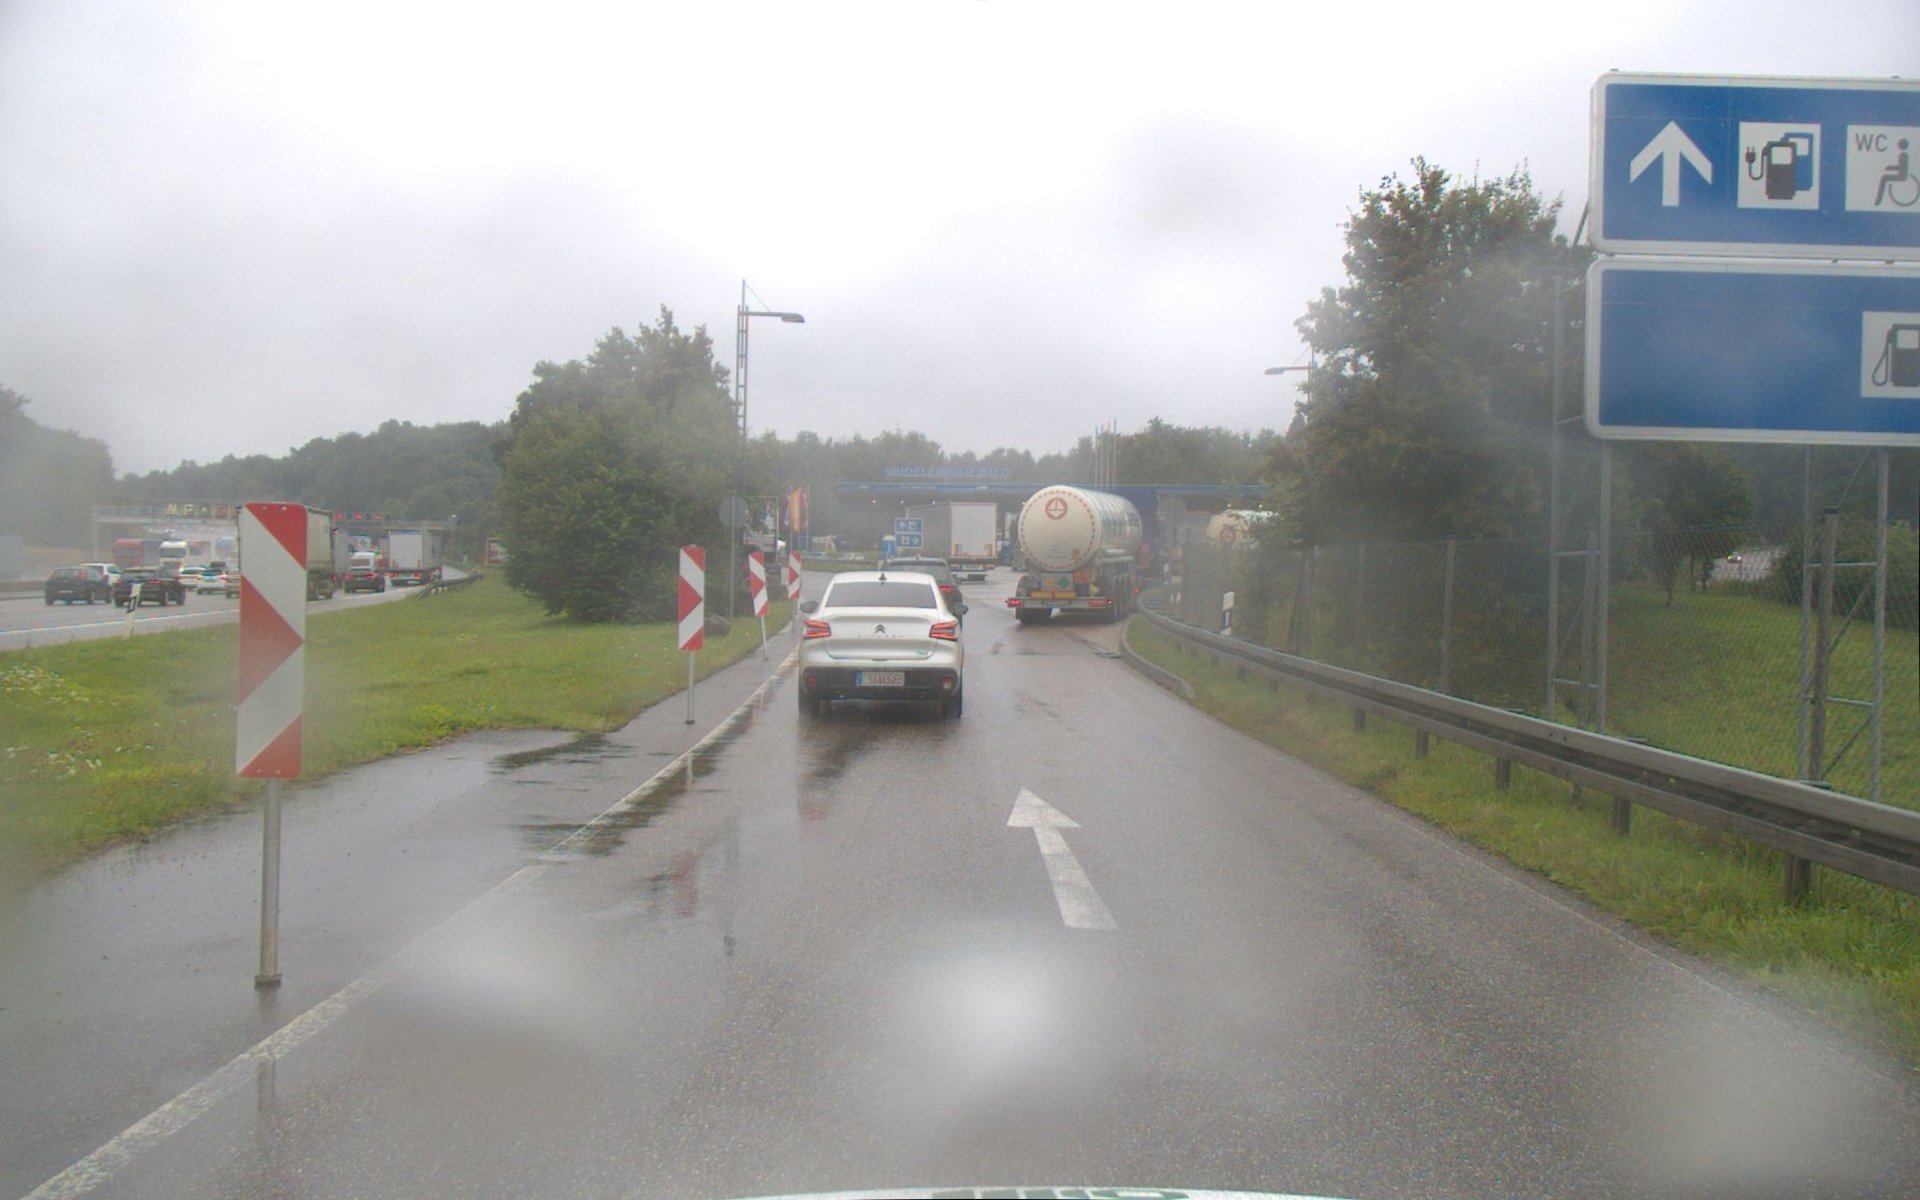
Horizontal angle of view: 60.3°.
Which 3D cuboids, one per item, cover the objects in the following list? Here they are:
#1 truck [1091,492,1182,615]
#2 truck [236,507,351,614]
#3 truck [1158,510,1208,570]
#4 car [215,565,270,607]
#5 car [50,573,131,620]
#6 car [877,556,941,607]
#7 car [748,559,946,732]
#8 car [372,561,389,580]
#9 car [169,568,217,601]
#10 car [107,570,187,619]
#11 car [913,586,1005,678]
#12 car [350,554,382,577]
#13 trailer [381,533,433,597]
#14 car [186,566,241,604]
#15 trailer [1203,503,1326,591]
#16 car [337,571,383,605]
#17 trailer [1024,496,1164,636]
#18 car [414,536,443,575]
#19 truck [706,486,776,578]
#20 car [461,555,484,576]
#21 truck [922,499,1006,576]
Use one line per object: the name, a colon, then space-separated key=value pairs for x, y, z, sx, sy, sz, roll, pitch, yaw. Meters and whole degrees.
truck: x=5.496 y=-1.429 z=50.895 sx=2.009 sy=3.592 sz=4.750 roll=1 pitch=2 yaw=15
truck: x=-29.448 y=-1.629 z=73.615 sx=2.800 sy=4.367 sz=11.805 roll=-1 pitch=0 yaw=-12
truck: x=14.557 y=-3.950 z=108.222 sx=2.379 sy=3.871 sz=3.996 roll=0 pitch=3 yaw=-6
car: x=-35.648 y=-0.682 z=82.242 sx=1.758 sy=2.005 sz=4.320 roll=1 pitch=0 yaw=-13
car: x=-34.734 y=-0.172 z=66.187 sx=1.744 sy=1.766 sz=4.089 roll=-1 pitch=1 yaw=-11
car: x=-1.651 y=-0.615 z=52.336 sx=1.841 sy=1.487 sz=3.997 roll=1 pitch=1 yaw=-4
car: x=-1.168 y=0.434 z=18.396 sx=1.953 sy=1.708 sz=3.999 roll=0 pitch=0 yaw=-2
car: x=-68.225 y=-3.440 z=194.769 sx=1.649 sy=2.048 sz=3.978 roll=7 pitch=-2 yaw=-19
car: x=-48.906 y=-0.993 z=105.518 sx=1.959 sy=2.049 sz=3.987 roll=0 pitch=1 yaw=-13
car: x=-30.285 y=-0.228 z=61.691 sx=1.744 sy=1.766 sz=3.836 roll=0 pitch=0 yaw=-12
car: x=-0.019 y=0.625 z=33.904 sx=1.707 sy=1.696 sz=4.000 roll=3 pitch=0 yaw=0
car: x=-51.329 y=-2.978 z=143.048 sx=1.957 sy=1.847 sz=3.990 roll=1 pitch=1 yaw=-10
trailer: x=-42.949 y=-2.641 z=128.674 sx=3.492 sy=4.692 sz=12.062 roll=0 pitch=0 yaw=-17
car: x=-42.263 y=-0.869 z=93.713 sx=1.959 sy=2.049 sz=3.987 roll=2 pitch=0 yaw=-13
trailer: x=13.168 y=-2.257 z=70.767 sx=2.091 sy=3.500 sz=10.238 roll=1 pitch=2 yaw=28
car: x=-34.653 y=-0.704 z=95.550 sx=1.959 sy=1.847 sz=3.987 roll=1 pitch=1 yaw=-13
trailer: x=3.782 y=-0.961 z=44.260 sx=1.938 sy=3.280 sz=10.330 roll=1 pitch=2 yaw=15
car: x=-50.768 y=-4.253 z=158.051 sx=2.335 sy=3.545 sz=4.792 roll=3 pitch=0 yaw=-17
truck: x=-10.019 y=-3.072 z=75.255 sx=2.863 sy=3.972 sz=6.302 roll=0 pitch=2 yaw=-10
car: x=-50.927 y=-3.548 z=172.751 sx=1.963 sy=2.048 sz=3.978 roll=3 pitch=0 yaw=-19
truck: x=0.085 y=-3.454 z=90.816 sx=2.328 sy=3.941 sz=12.424 roll=0 pitch=2 yaw=-11
